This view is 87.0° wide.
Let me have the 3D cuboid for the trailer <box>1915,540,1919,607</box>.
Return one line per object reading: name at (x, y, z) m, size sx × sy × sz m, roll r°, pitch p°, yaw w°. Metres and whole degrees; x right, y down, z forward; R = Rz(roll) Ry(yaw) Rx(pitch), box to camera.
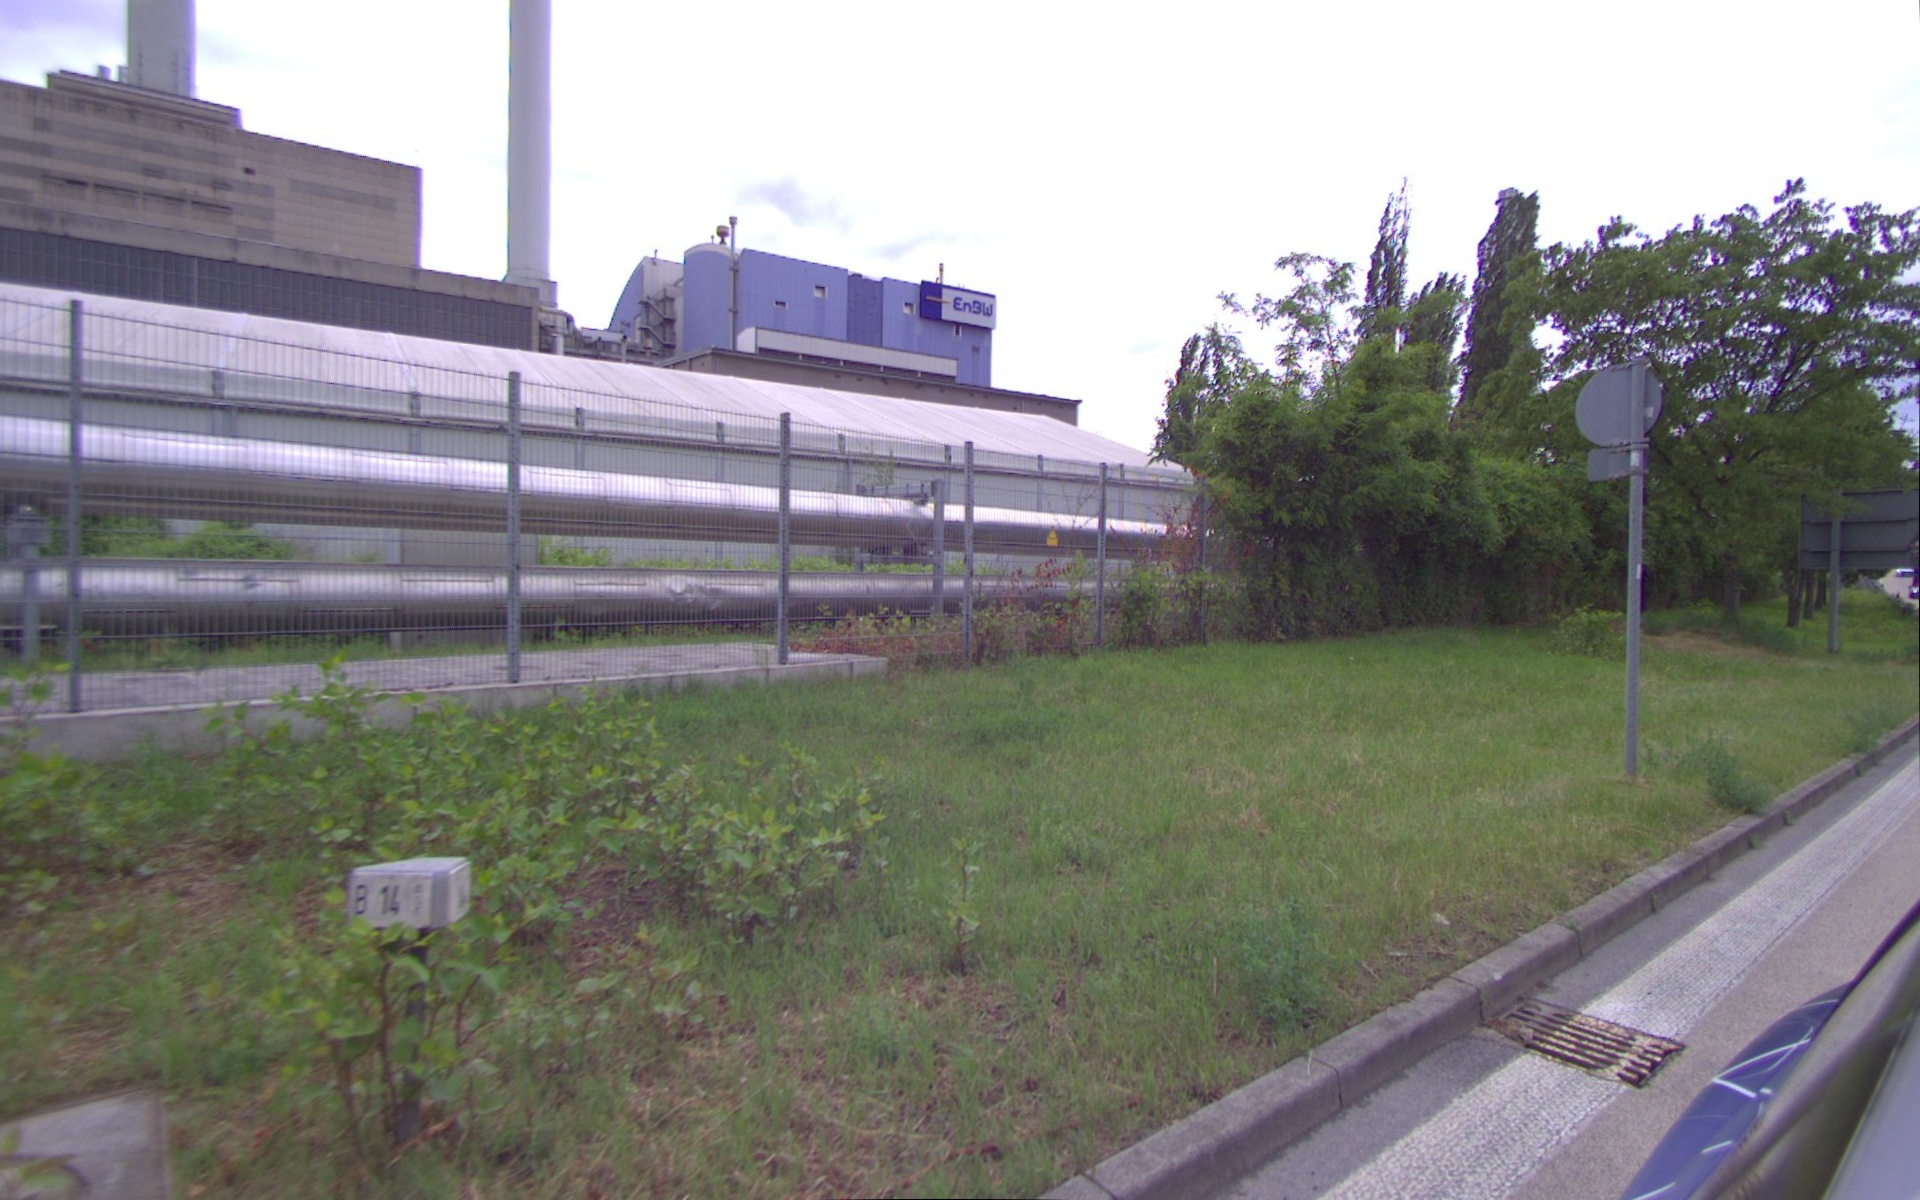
trailer at (61.644, -1.714, 62.056) m, size 3.149 × 4.379 × 13.082 m, roll 0°, pitch 0°, yaw 38°
